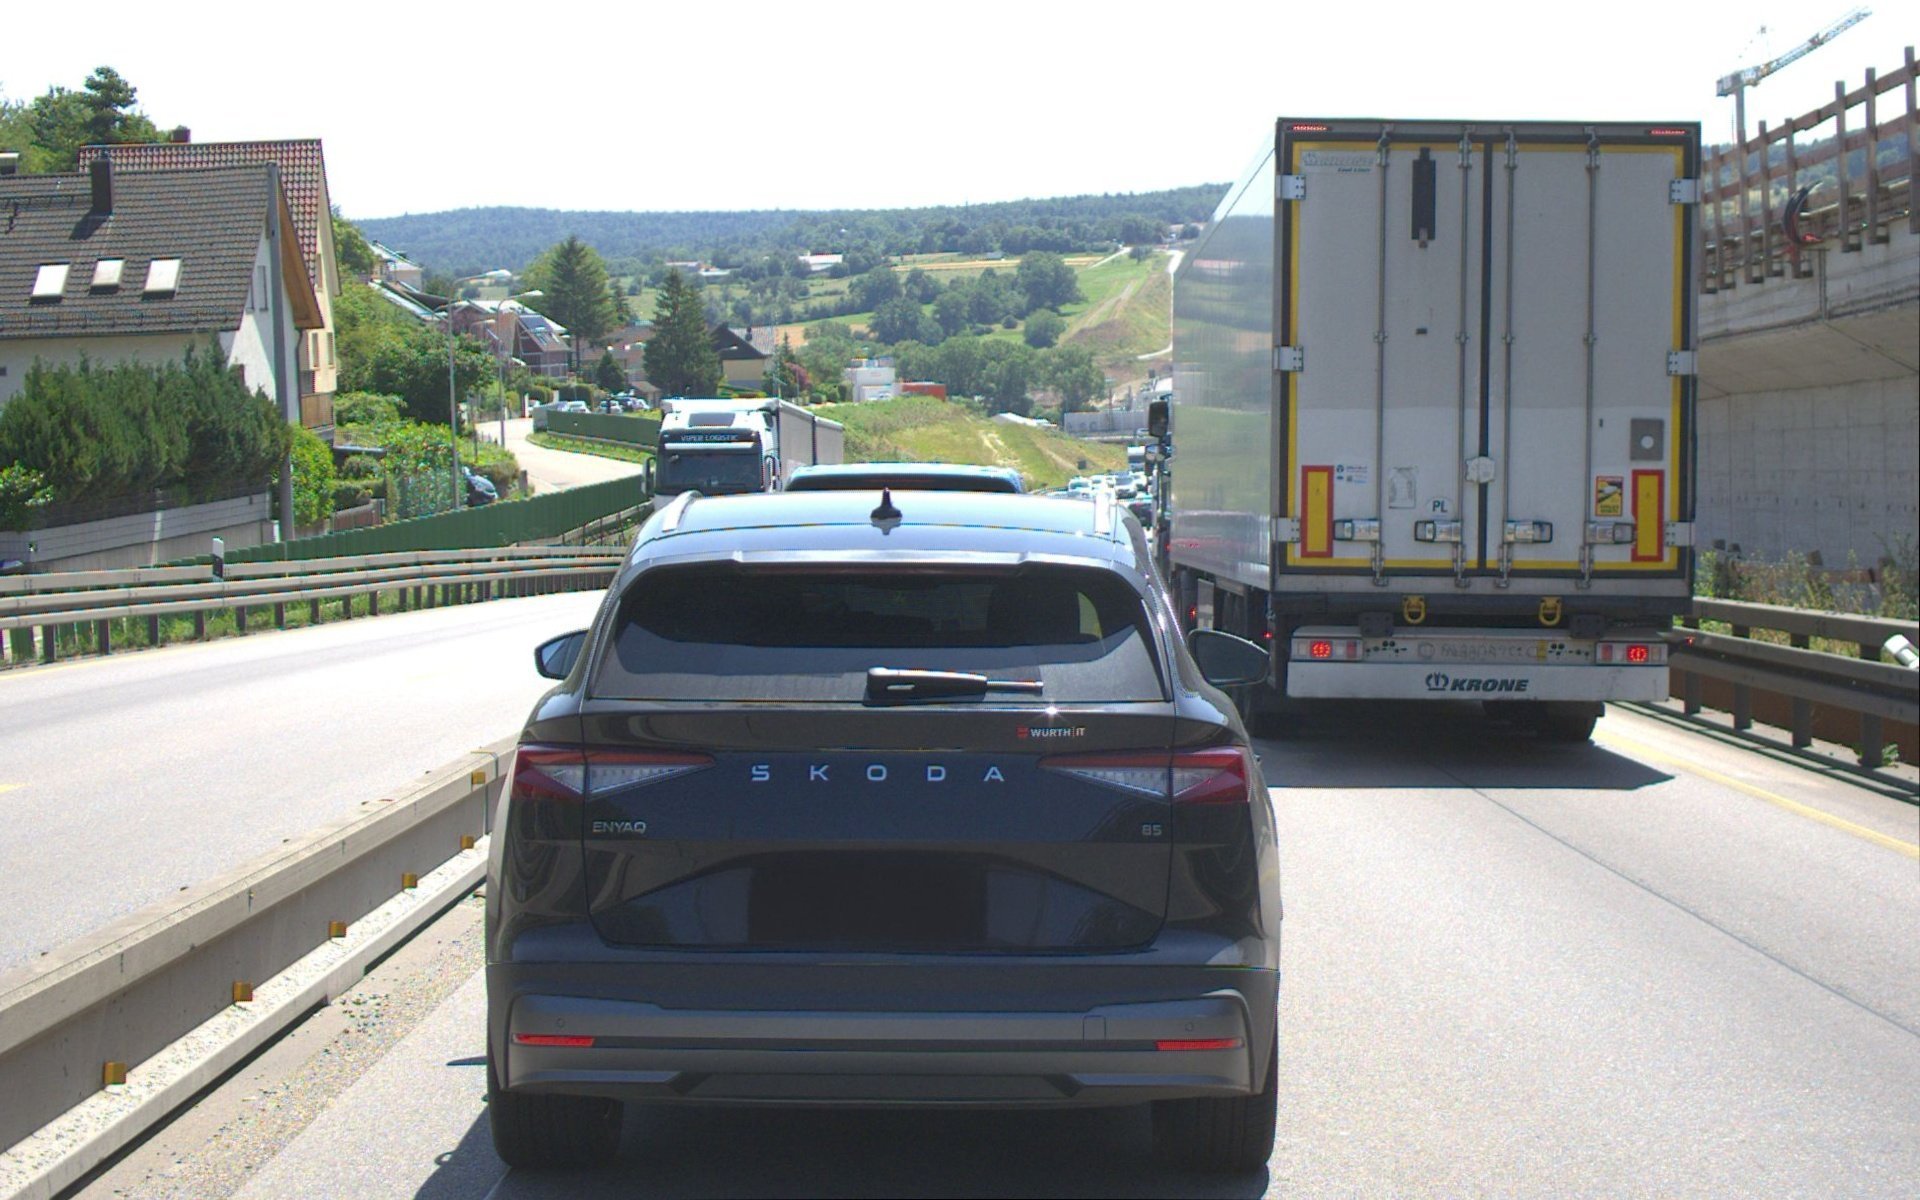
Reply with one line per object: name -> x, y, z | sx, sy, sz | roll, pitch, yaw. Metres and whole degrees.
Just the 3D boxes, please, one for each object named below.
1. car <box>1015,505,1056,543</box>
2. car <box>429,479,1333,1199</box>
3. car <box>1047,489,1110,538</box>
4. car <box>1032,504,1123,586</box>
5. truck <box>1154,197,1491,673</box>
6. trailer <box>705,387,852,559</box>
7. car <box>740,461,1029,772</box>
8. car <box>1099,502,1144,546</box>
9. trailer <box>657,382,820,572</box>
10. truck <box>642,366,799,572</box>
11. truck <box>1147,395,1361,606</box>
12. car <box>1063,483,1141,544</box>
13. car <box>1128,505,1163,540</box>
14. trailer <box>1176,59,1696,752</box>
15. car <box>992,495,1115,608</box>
car -> 3.542, -3.552, 161.063 | 1.701, 1.722, 3.836 | 1, 0, 4
car -> -0.296, 0.537, 9.019 | 1.842, 1.581, 3.908 | 1, 0, -4
car -> 4.012, -2.937, 116.746 | 1.993, 1.579, 3.836 | 1, 0, 0
car -> 2.446, -1.184, 72.341 | 1.707, 1.616, 4.001 | 1, 2, -1
truck -> 3.313, -1.436, 33.336 | 2.513, 4.011, 8.237 | 1, 0, 1
trailer -> -4.478, -3.188, 86.381 | 2.757, 4.056, 8.634 | 1, 2, 3
car -> -0.586, 0.034, 22.944 | 1.706, 1.875, 4.001 | 1, 2, -4
car -> 6.679, -3.122, 141.872 | 1.701, 1.722, 3.836 | 1, 0, 4
trailer -> -4.940, -2.796, 78.062 | 2.757, 4.056, 8.007 | 1, 2, 3
truck -> -5.124, -2.816, 74.318 | 2.752, 4.268, 4.957 | 1, 2, 3
truck -> 4.789, -1.563, 58.413 | 3.195, 3.180, 12.807 | 0, 0, 3
car -> 3.880, -2.365, 94.752 | 1.993, 1.579, 3.836 | 1, 0, 0
car -> 9.576, -3.968, 177.098 | 1.701, 1.722, 3.836 | 1, 0, 4
trailer -> 3.206, -1.213, 26.333 | 2.532, 4.113, 11.548 | 1, 0, 1
car -> 1.396, -0.779, 52.816 | 1.707, 1.616, 4.001 | 1, 2, -1
